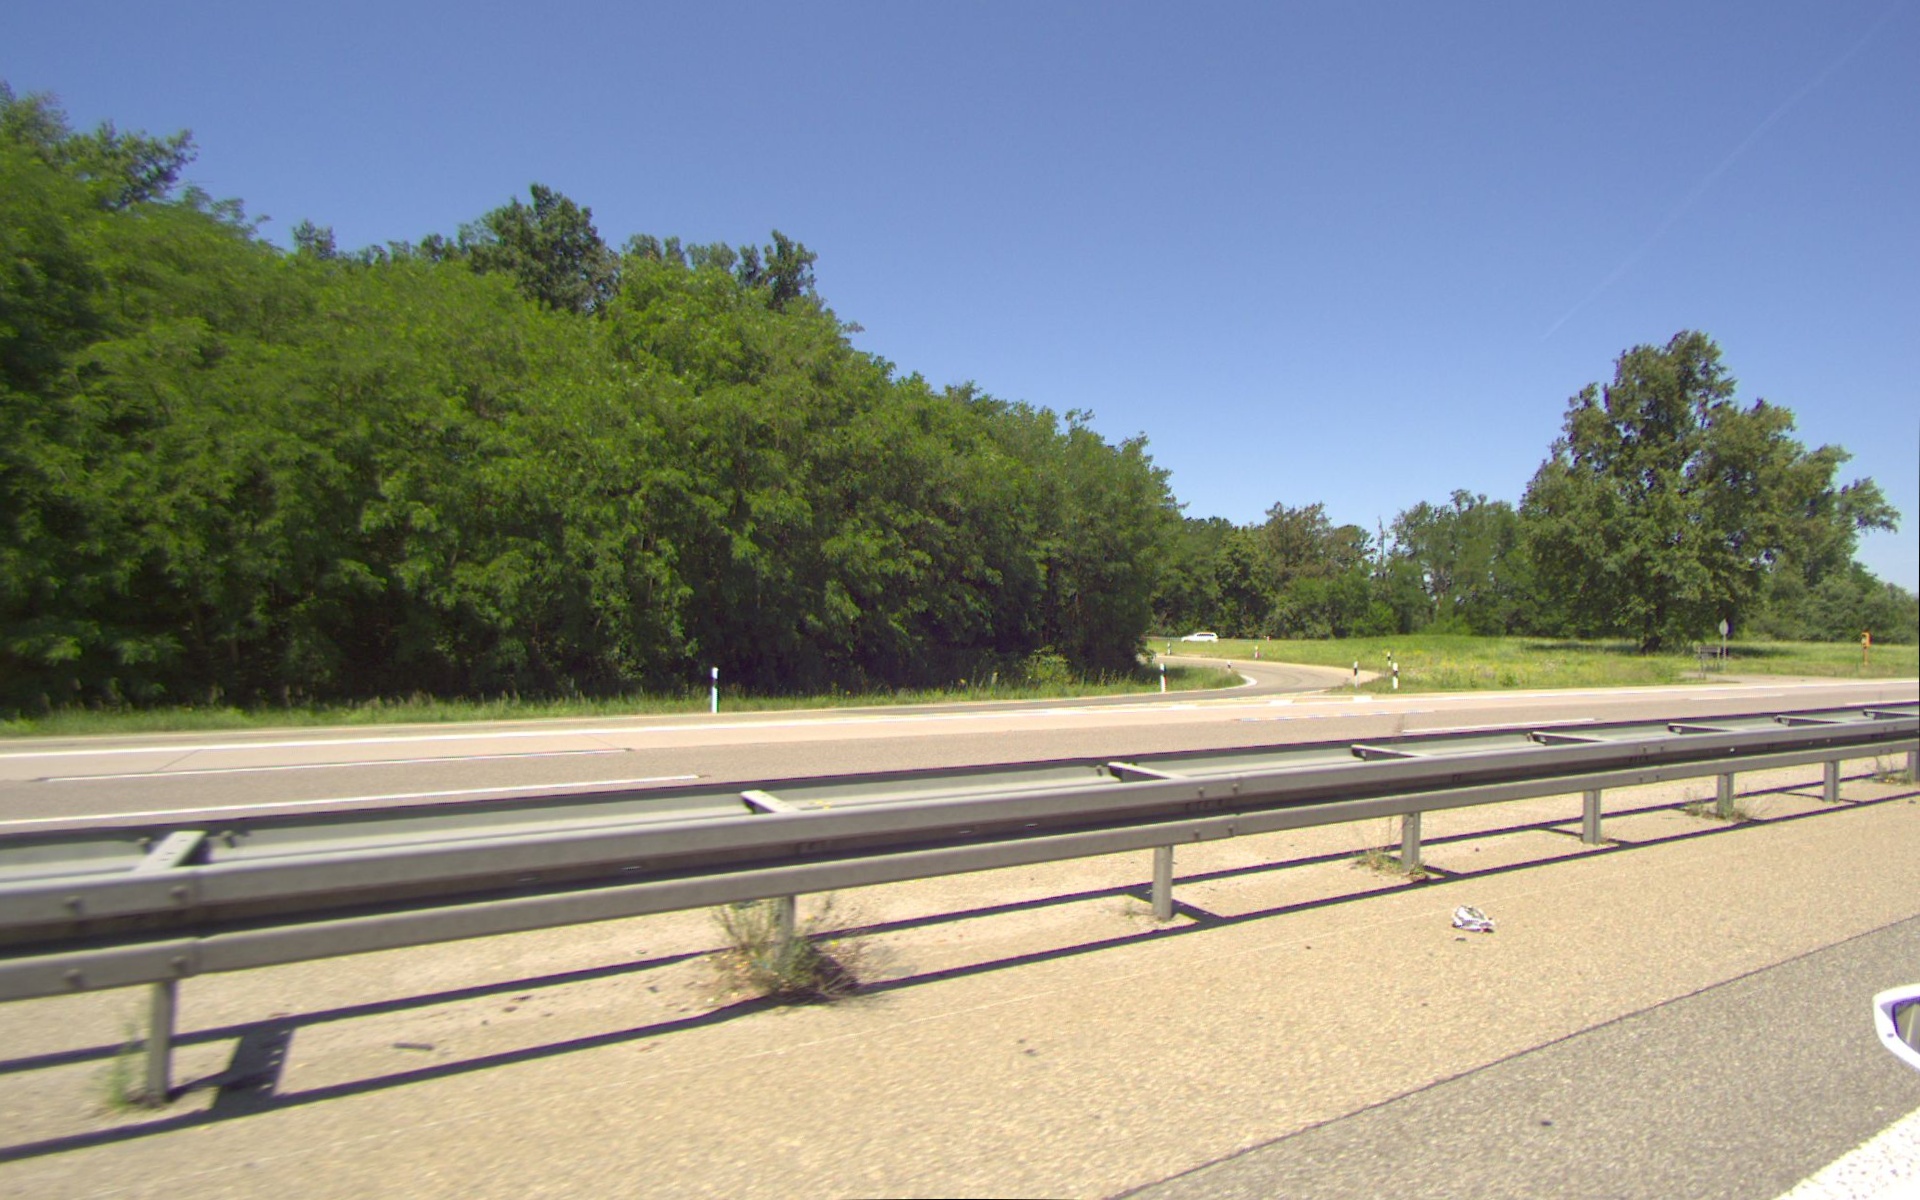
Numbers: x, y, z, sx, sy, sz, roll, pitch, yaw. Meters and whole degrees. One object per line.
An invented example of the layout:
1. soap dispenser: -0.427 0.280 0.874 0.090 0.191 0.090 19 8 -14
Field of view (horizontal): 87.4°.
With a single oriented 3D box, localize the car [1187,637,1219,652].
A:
1. car: 31.324 5.732 129.646 3.919 1.840 1.787 1 0 16
